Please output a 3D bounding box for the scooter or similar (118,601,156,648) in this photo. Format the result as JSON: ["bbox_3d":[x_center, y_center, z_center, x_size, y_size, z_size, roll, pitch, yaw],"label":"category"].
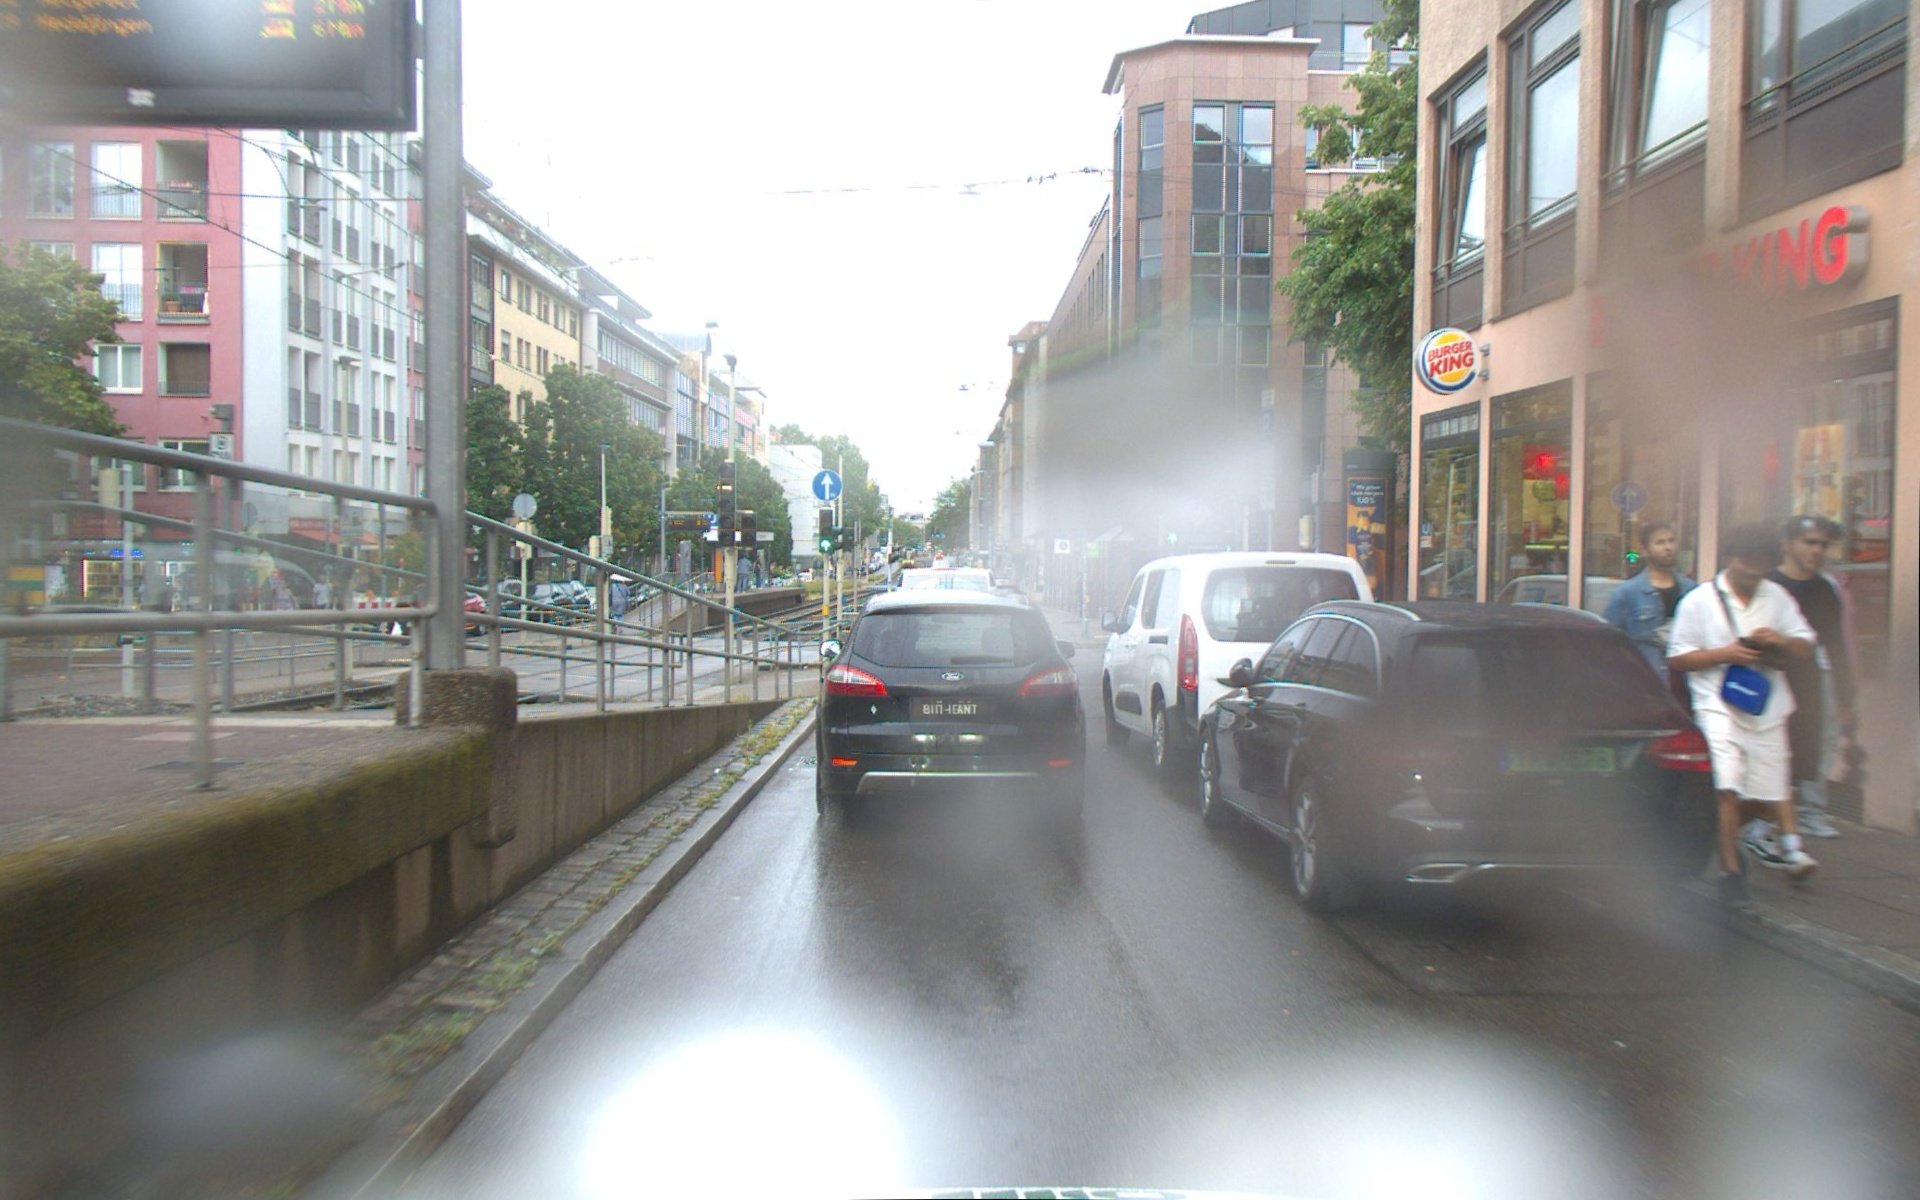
[{"bbox_3d":[-21.907,0.644,44.013,0.381,1.212,1.212,-1,0,1],"label":"scooter or similar"}]

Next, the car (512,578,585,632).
[{"bbox_3d":[-14.953,0.148,60.350,1.766,1.890,4.378,-1,1,-3],"label":"car"}]

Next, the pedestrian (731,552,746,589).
[{"bbox_3d":[-10.370,-1.382,77.426,0.642,1.741,0.849,0,1,-3],"label":"pedestrian"}]

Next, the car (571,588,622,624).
[{"bbox_3d":[-15.431,0.235,70.351,1.537,1.461,3.976,-1,1,-4],"label":"car"}]

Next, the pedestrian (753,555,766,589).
[{"bbox_3d":[-11.040,-1.540,90.987,0.642,1.833,0.849,0,1,-3],"label":"pedestrian"}]

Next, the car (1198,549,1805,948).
[{"bbox_3d":[2.561,0.605,9.056,1.867,1.644,4.413,0,0,0],"label":"car"}]

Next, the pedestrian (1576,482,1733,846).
[{"bbox_3d":[3.892,0.348,9.301,0.638,1.982,0.533,-1,0,0],"label":"pedestrian"}]

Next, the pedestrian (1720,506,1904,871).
[{"bbox_3d":[4.221,0.423,8.223,0.598,1.744,0.581,-1,0,0],"label":"pedestrian"}]

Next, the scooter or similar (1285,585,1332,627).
[{"bbox_3d":[10.650,0.186,50.589,1.345,1.248,0.325,-1,0,2],"label":"scooter or similar"}]

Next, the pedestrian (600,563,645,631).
[{"bbox_3d":[-10.328,-0.086,50.705,1.093,2.049,1.383,-1,0,-1],"label":"pedestrian"}]

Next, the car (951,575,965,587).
[{"bbox_3d":[-0.264,-2.683,234.714,1.867,1.662,4.574,0,0,0],"label":"car"}]

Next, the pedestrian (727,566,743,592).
[{"bbox_3d":[-10.835,-1.004,79.626,0.679,1.271,0.884,0,1,-3],"label":"pedestrian"}]

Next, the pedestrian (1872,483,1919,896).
[{"bbox_3d":[4.664,0.397,7.473,0.740,1.851,0.588,-1,0,0],"label":"pedestrian"}]

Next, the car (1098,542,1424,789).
[{"bbox_3d":[2.463,0.479,14.801,1.868,1.838,4.775,0,0,-2],"label":"car"}]

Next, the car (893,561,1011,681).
[{"bbox_3d":[-0.132,0.319,28.487,1.867,1.897,4.573,0,0,0],"label":"car"}]

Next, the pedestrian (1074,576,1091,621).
[{"bbox_3d":[4.614,-0.046,62.366,0.589,1.688,0.625,-1,0,-1],"label":"pedestrian"}]

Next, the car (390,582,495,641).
[{"bbox_3d":[-15.638,0.311,50.189,1.690,1.640,4.553,-1,1,1],"label":"car"}]

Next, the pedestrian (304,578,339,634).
[{"bbox_3d":[-19.930,0.184,51.642,0.804,1.727,0.984,1,0,-9],"label":"pedestrian"}]

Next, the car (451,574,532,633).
[{"bbox_3d":[-15.691,0.095,55.580,1.673,1.890,4.318,-1,1,-3],"label":"car"}]

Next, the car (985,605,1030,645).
[{"bbox_3d":[1.935,1.013,68.103,1.664,1.487,3.867,-2,0,0],"label":"car"}]

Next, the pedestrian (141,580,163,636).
[{"bbox_3d":[-24.372,0.233,49.904,0.571,1.660,0.606,1,0,-27],"label":"pedestrian"}]

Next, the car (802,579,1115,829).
[{"bbox_3d":[-0.014,0.615,11.605,1.867,1.488,3.444,0,0,0],"label":"car"}]

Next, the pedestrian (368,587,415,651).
[{"bbox_3d":[-15.264,0.491,44.435,0.863,1.660,0.806,2,3,29],"label":"pedestrian"}]

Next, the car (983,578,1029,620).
[{"bbox_3d":[1.759,-0.060,63.774,1.664,1.505,3.867,-2,0,1],"label":"car"}]

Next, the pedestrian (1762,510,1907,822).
[{"bbox_3d":[5.026,0.370,9.528,0.564,1.744,0.477,-1,0,0],"label":"pedestrian"}]

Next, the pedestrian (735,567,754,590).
[{"bbox_3d":[-10.677,-1.057,82.018,0.876,1.143,0.848,-1,1,-11],"label":"pedestrian"}]

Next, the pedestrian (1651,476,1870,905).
[{"bbox_3d":[3.674,0.399,7.638,0.681,1.887,0.652,-1,0,0],"label":"pedestrian"}]
